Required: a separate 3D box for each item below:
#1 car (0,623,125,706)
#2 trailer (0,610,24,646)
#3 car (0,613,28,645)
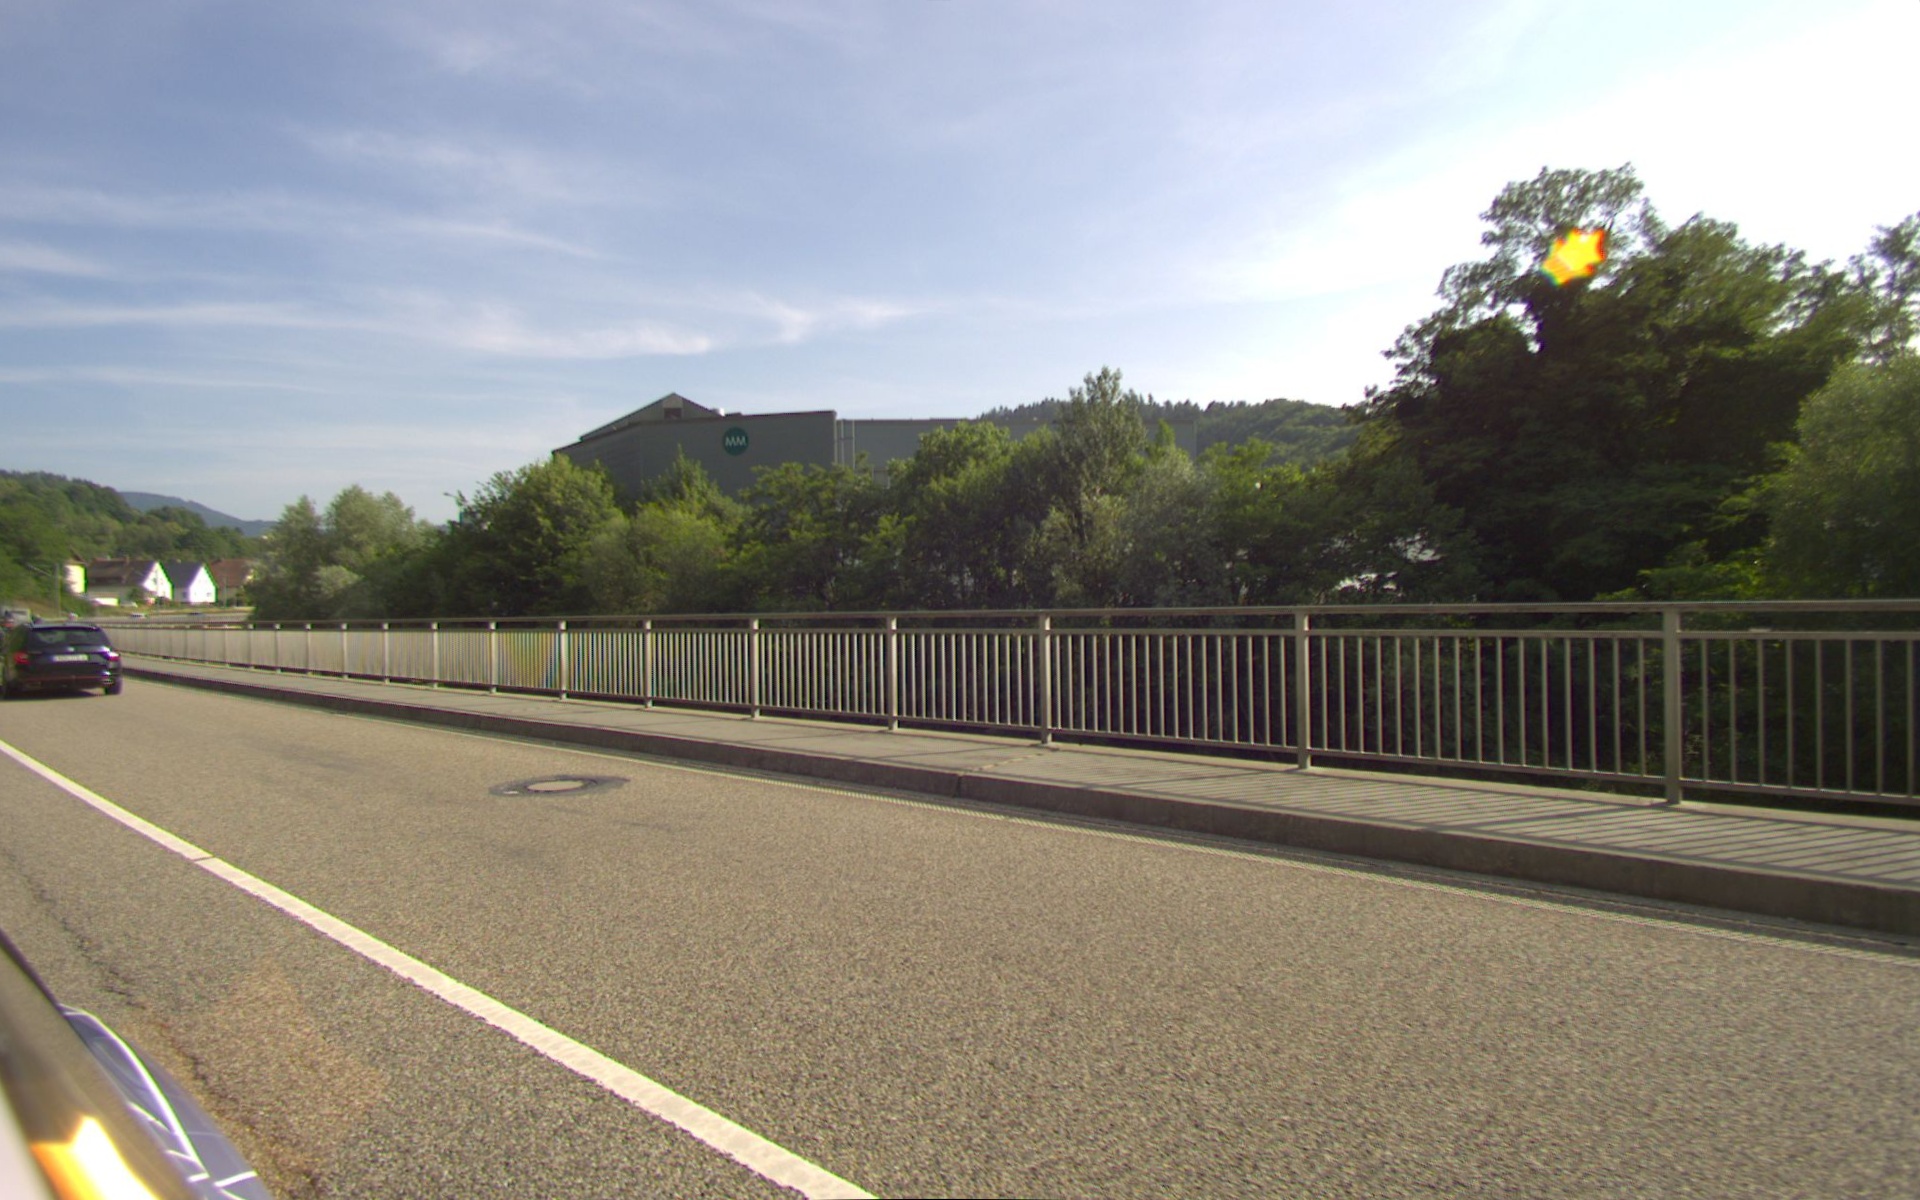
[{"bbox_3d":[-18.018,1.200,19.982,4.338,1.446,1.702,-1,-1,41],"label":"car"},{"bbox_3d":[-75.624,2.211,80.055,2.095,2.737,5.355,1,-2,-41],"label":"trailer"},{"bbox_3d":[-79.505,2.393,84.573,2.132,2.551,6.587,1,-2,-41],"label":"car"}]
